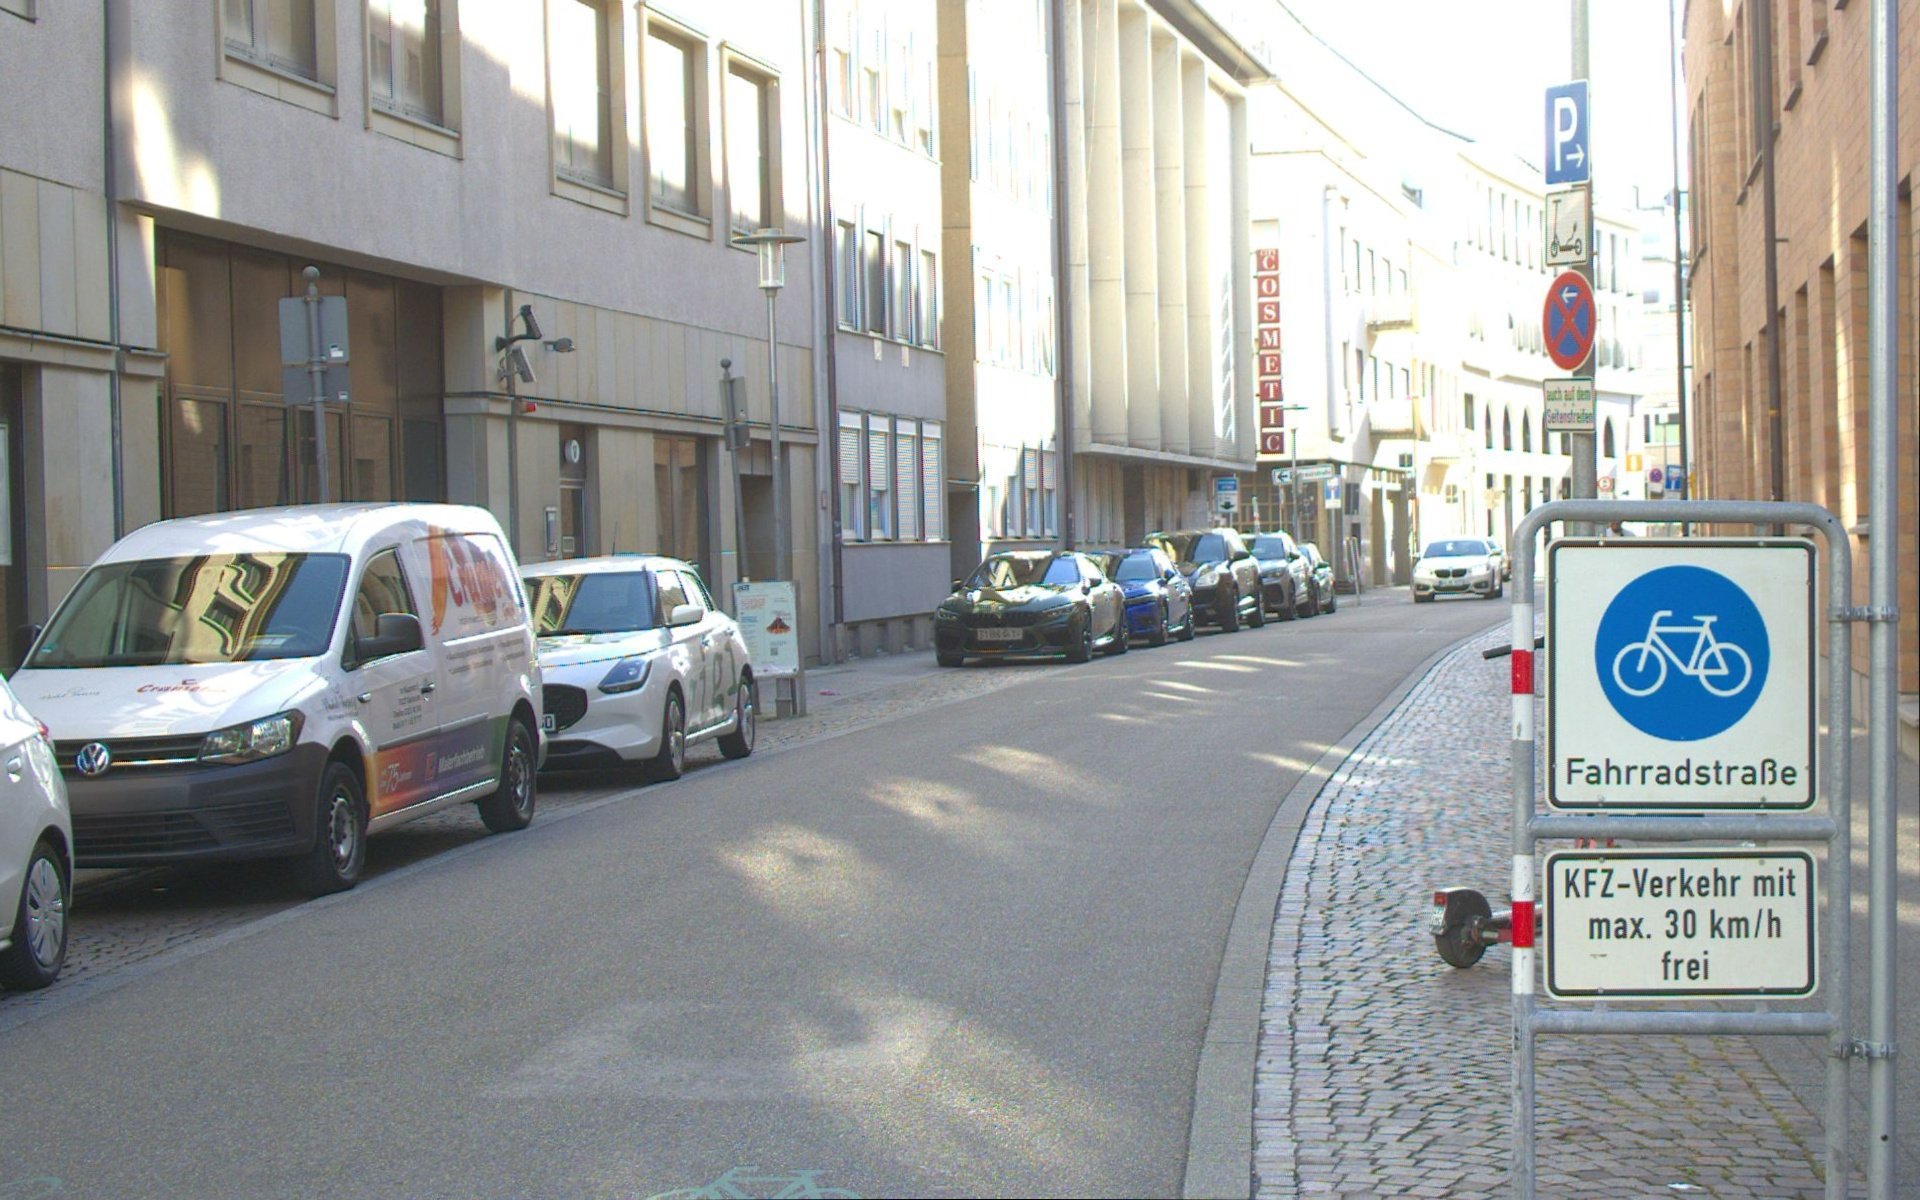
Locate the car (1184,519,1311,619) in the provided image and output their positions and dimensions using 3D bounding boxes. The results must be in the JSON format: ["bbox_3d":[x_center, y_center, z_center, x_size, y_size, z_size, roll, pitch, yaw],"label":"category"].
[{"bbox_3d":[5.332,-0.601,63.291,1.891,1.736,4.389,-2,1,10],"label":"car"}]

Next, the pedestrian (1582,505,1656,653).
[{"bbox_3d":[7.845,-0.252,40.966,0.760,1.710,0.821,-3,1,10],"label":"pedestrian"}]

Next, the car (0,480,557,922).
[{"bbox_3d":[-3.576,0.401,17.181,1.900,1.851,4.732,-3,1,8],"label":"car"}]

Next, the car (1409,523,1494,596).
[{"bbox_3d":[10.947,-0.918,76.381,1.715,1.512,4.158,-2,1,10],"label":"car"}]

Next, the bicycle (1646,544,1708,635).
[{"bbox_3d":[9.219,-0.151,44.238,0.550,1.099,1.982,-4,1,8],"label":"bicycle"}]

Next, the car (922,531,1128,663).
[{"bbox_3d":[0.891,-0.081,43.970,1.891,1.525,4.727,-2,1,10],"label":"car"}]

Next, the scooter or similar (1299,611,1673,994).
[{"bbox_3d":[1.875,0.678,12.155,1.415,1.231,0.538,-2,2,-43],"label":"scooter or similar"}]

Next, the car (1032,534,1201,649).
[{"bbox_3d":[2.332,-0.154,50.088,1.891,1.525,4.338,-2,1,10],"label":"car"}]

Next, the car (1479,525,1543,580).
[{"bbox_3d":[16.100,-1.396,100.291,1.640,1.512,4.158,-2,1,11],"label":"car"}]

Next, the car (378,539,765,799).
[{"bbox_3d":[-2.545,0.406,23.394,1.670,1.517,3.775,-3,1,8],"label":"car"}]

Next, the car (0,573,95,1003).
[{"bbox_3d":[-4.286,0.721,11.226,1.737,1.487,3.799,-3,1,3],"label":"car"}]

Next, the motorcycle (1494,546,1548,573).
[{"bbox_3d":[18.682,-1.353,114.469,1.692,0.856,0.594,1,0,19],"label":"motorcycle"}]

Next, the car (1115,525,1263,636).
[{"bbox_3d":[3.767,-0.344,55.849,1.891,1.670,4.552,-2,1,10],"label":"car"}]
